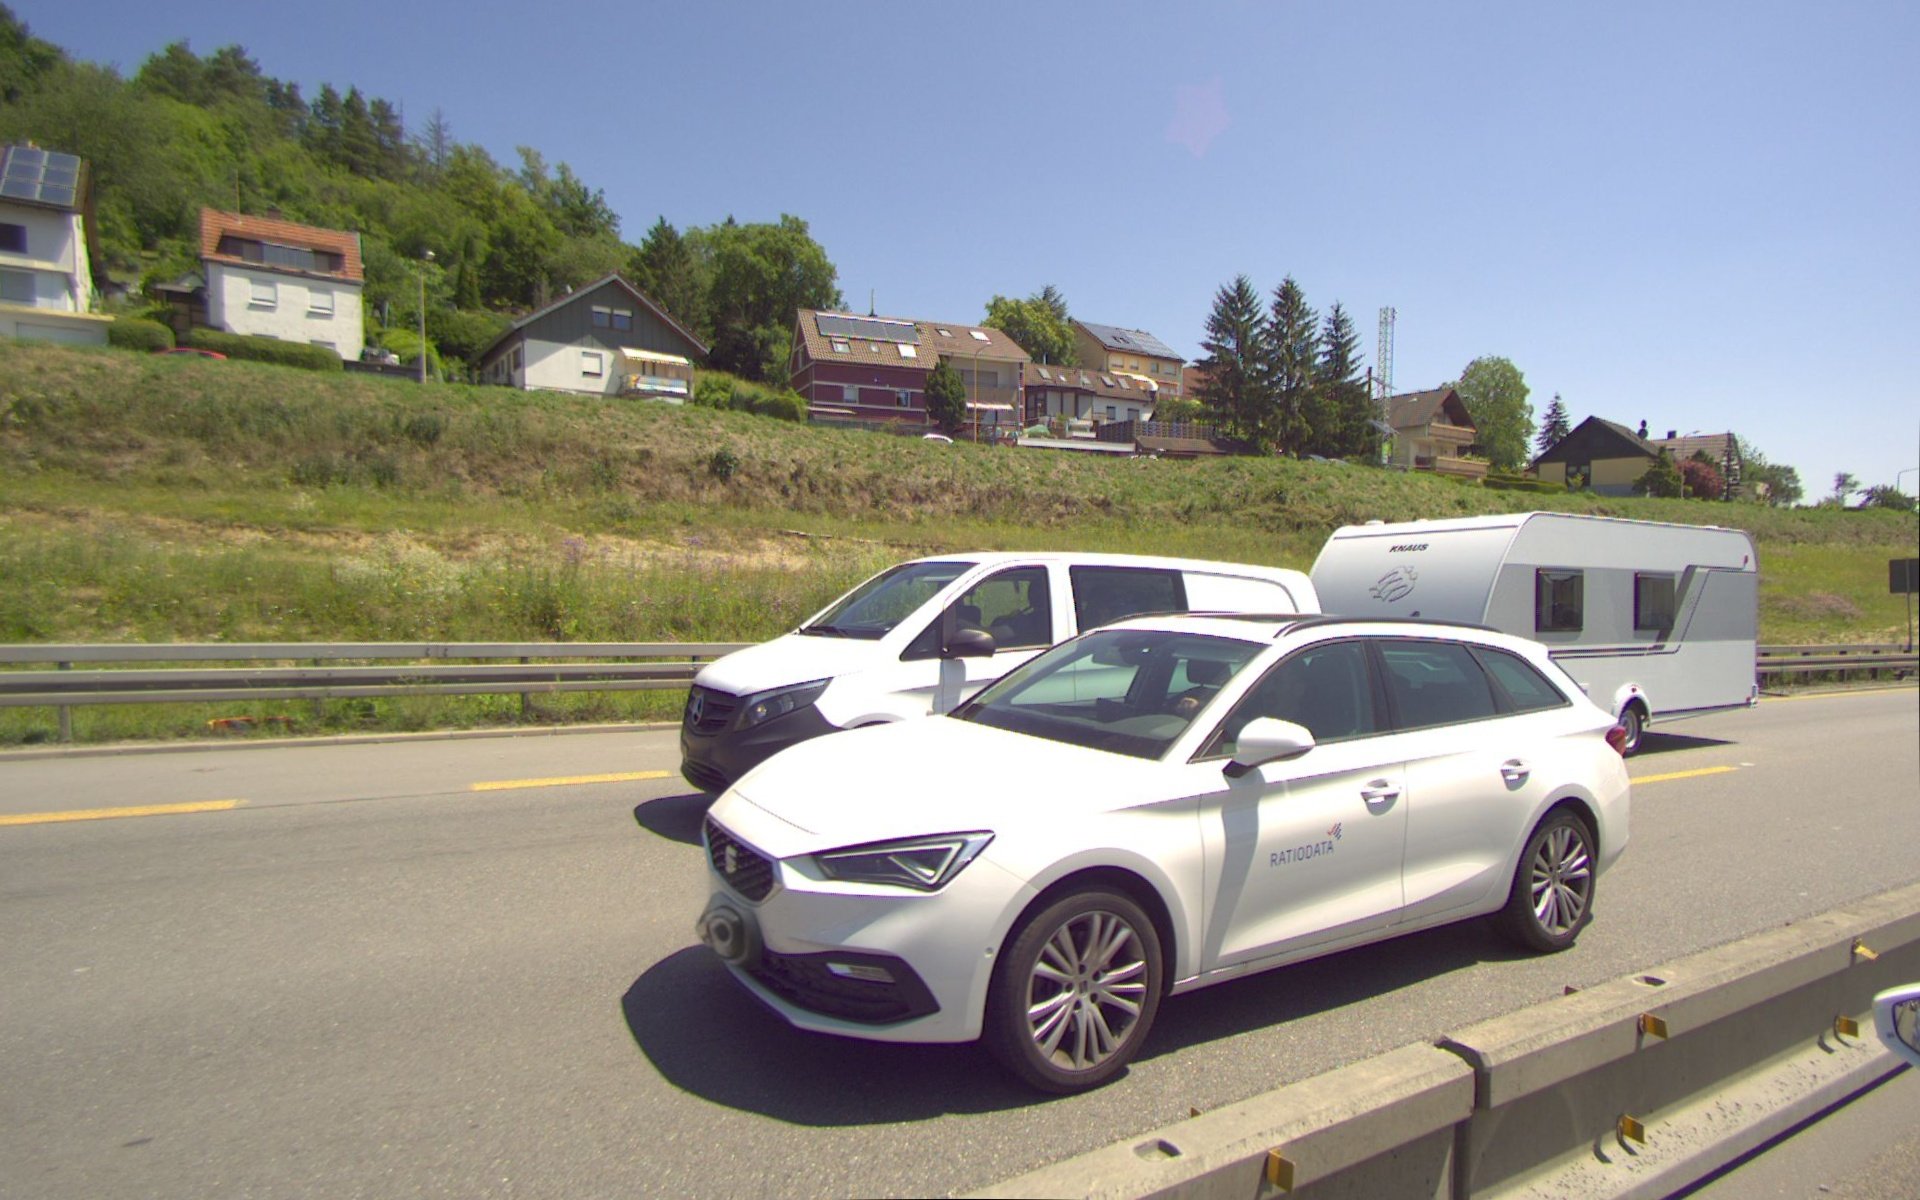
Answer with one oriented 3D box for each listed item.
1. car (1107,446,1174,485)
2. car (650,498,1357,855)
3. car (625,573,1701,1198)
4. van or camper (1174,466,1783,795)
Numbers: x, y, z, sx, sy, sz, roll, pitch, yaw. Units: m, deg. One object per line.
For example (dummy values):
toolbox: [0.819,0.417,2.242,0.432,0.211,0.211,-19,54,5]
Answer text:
car: [12.206,-9.057,67.943,3.946,2.040,1.987,3,-1,-25]
car: [0.513,0.486,7.829,5.281,1.997,1.984,2,0,-31]
car: [1.096,0.722,4.428,4.583,1.500,1.903,1,0,-31]
van or camper: [6.131,0.316,11.298,7.767,2.712,2.345,1,0,-31]
